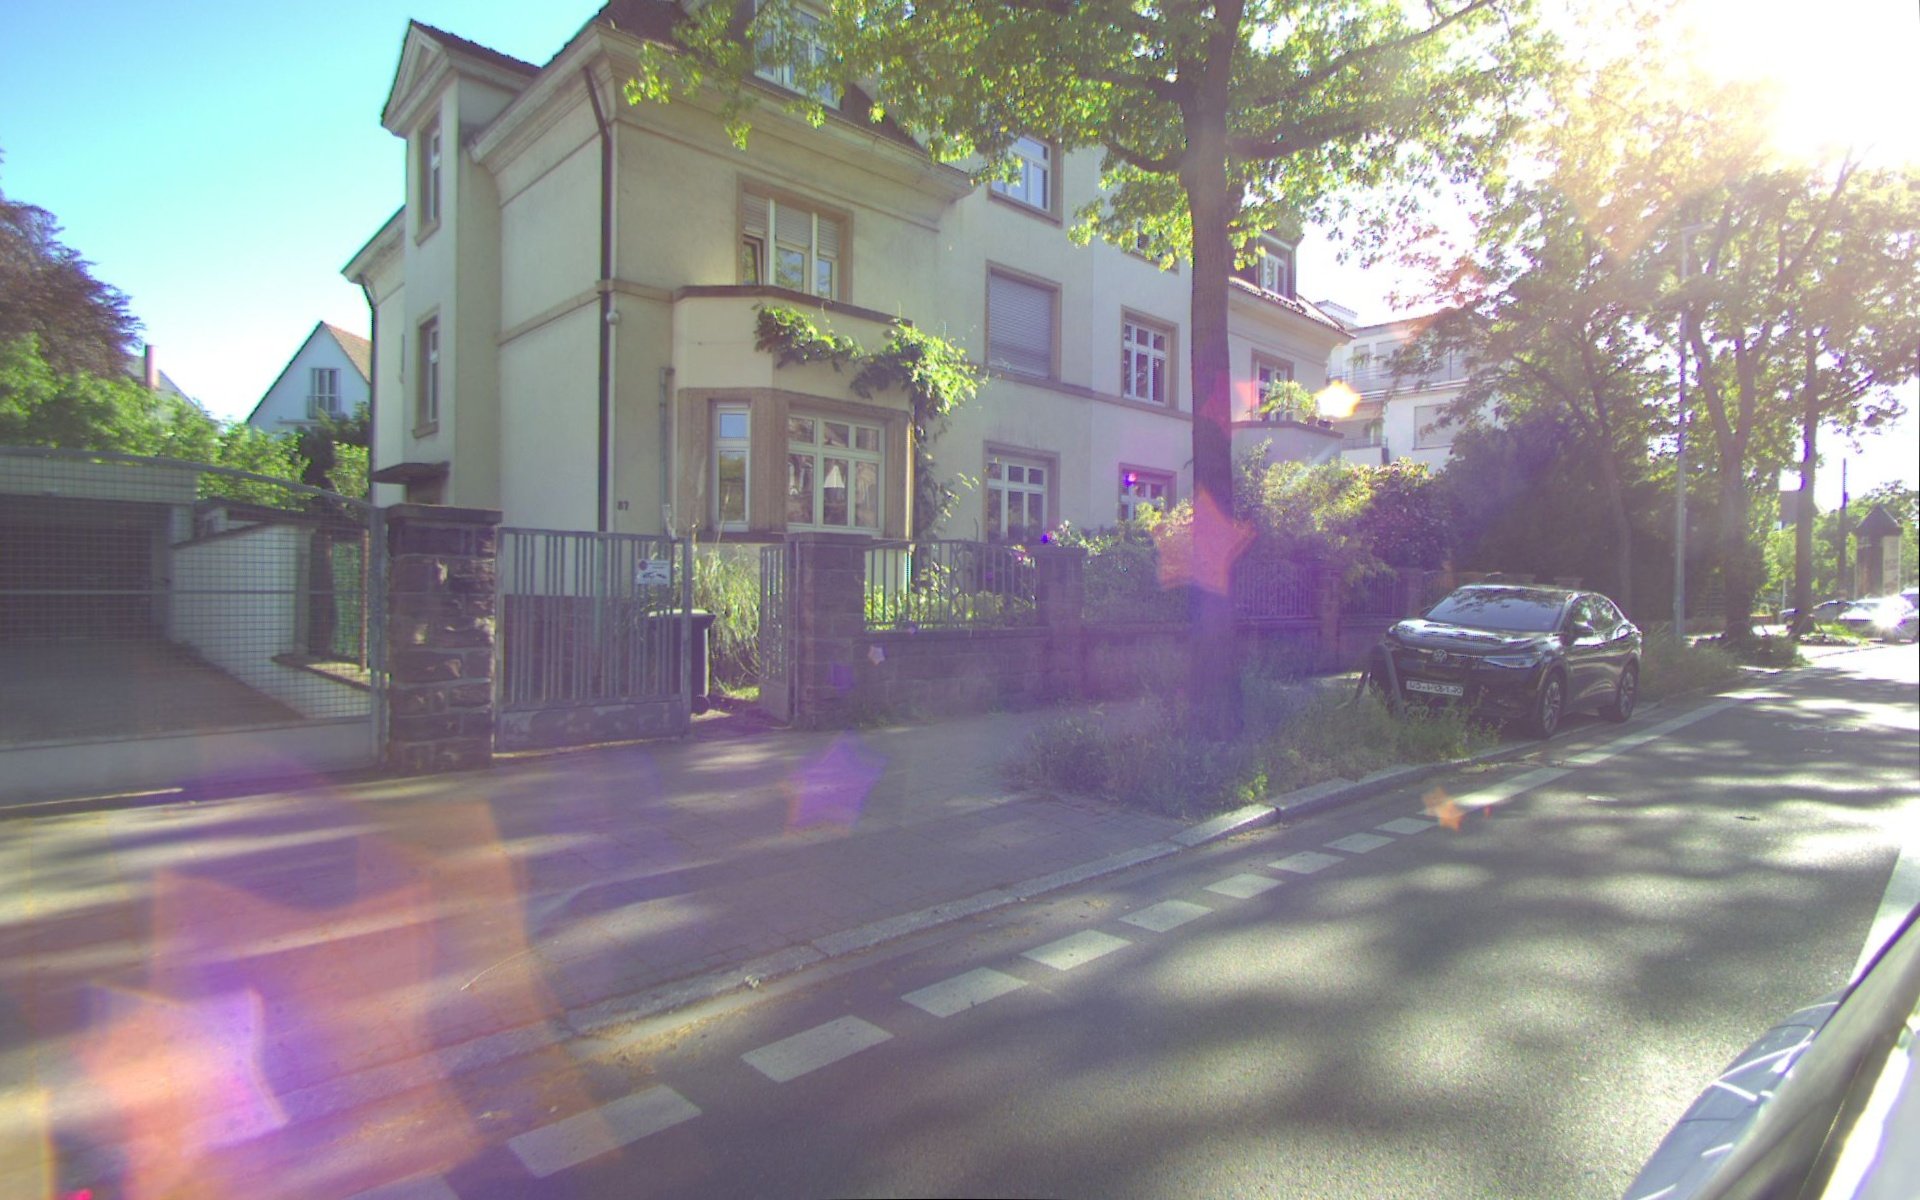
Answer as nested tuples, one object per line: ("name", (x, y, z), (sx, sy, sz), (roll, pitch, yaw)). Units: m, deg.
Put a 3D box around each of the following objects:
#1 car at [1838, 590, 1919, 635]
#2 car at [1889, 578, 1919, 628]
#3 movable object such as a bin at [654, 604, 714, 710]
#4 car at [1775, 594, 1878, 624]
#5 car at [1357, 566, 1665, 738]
("car", (31.510, 0.377, 34.278), (4.181, 1.427, 1.901), (0, 1, -38))
("car", (36.670, 0.124, 37.861), (4.580, 1.808, 1.903), (0, 1, -35))
("movable object such as a bin", (-2.922, 0.581, 10.671), (0.551, 1.062, 0.676), (0, 0, -20))
("car", (46.063, 0.454, 53.845), (1.784, 1.459, 3.990), (0, 1, -44))
("car", (6.710, 0.491, 12.138), (4.186, 1.619, 1.917), (0, 4, -42))
